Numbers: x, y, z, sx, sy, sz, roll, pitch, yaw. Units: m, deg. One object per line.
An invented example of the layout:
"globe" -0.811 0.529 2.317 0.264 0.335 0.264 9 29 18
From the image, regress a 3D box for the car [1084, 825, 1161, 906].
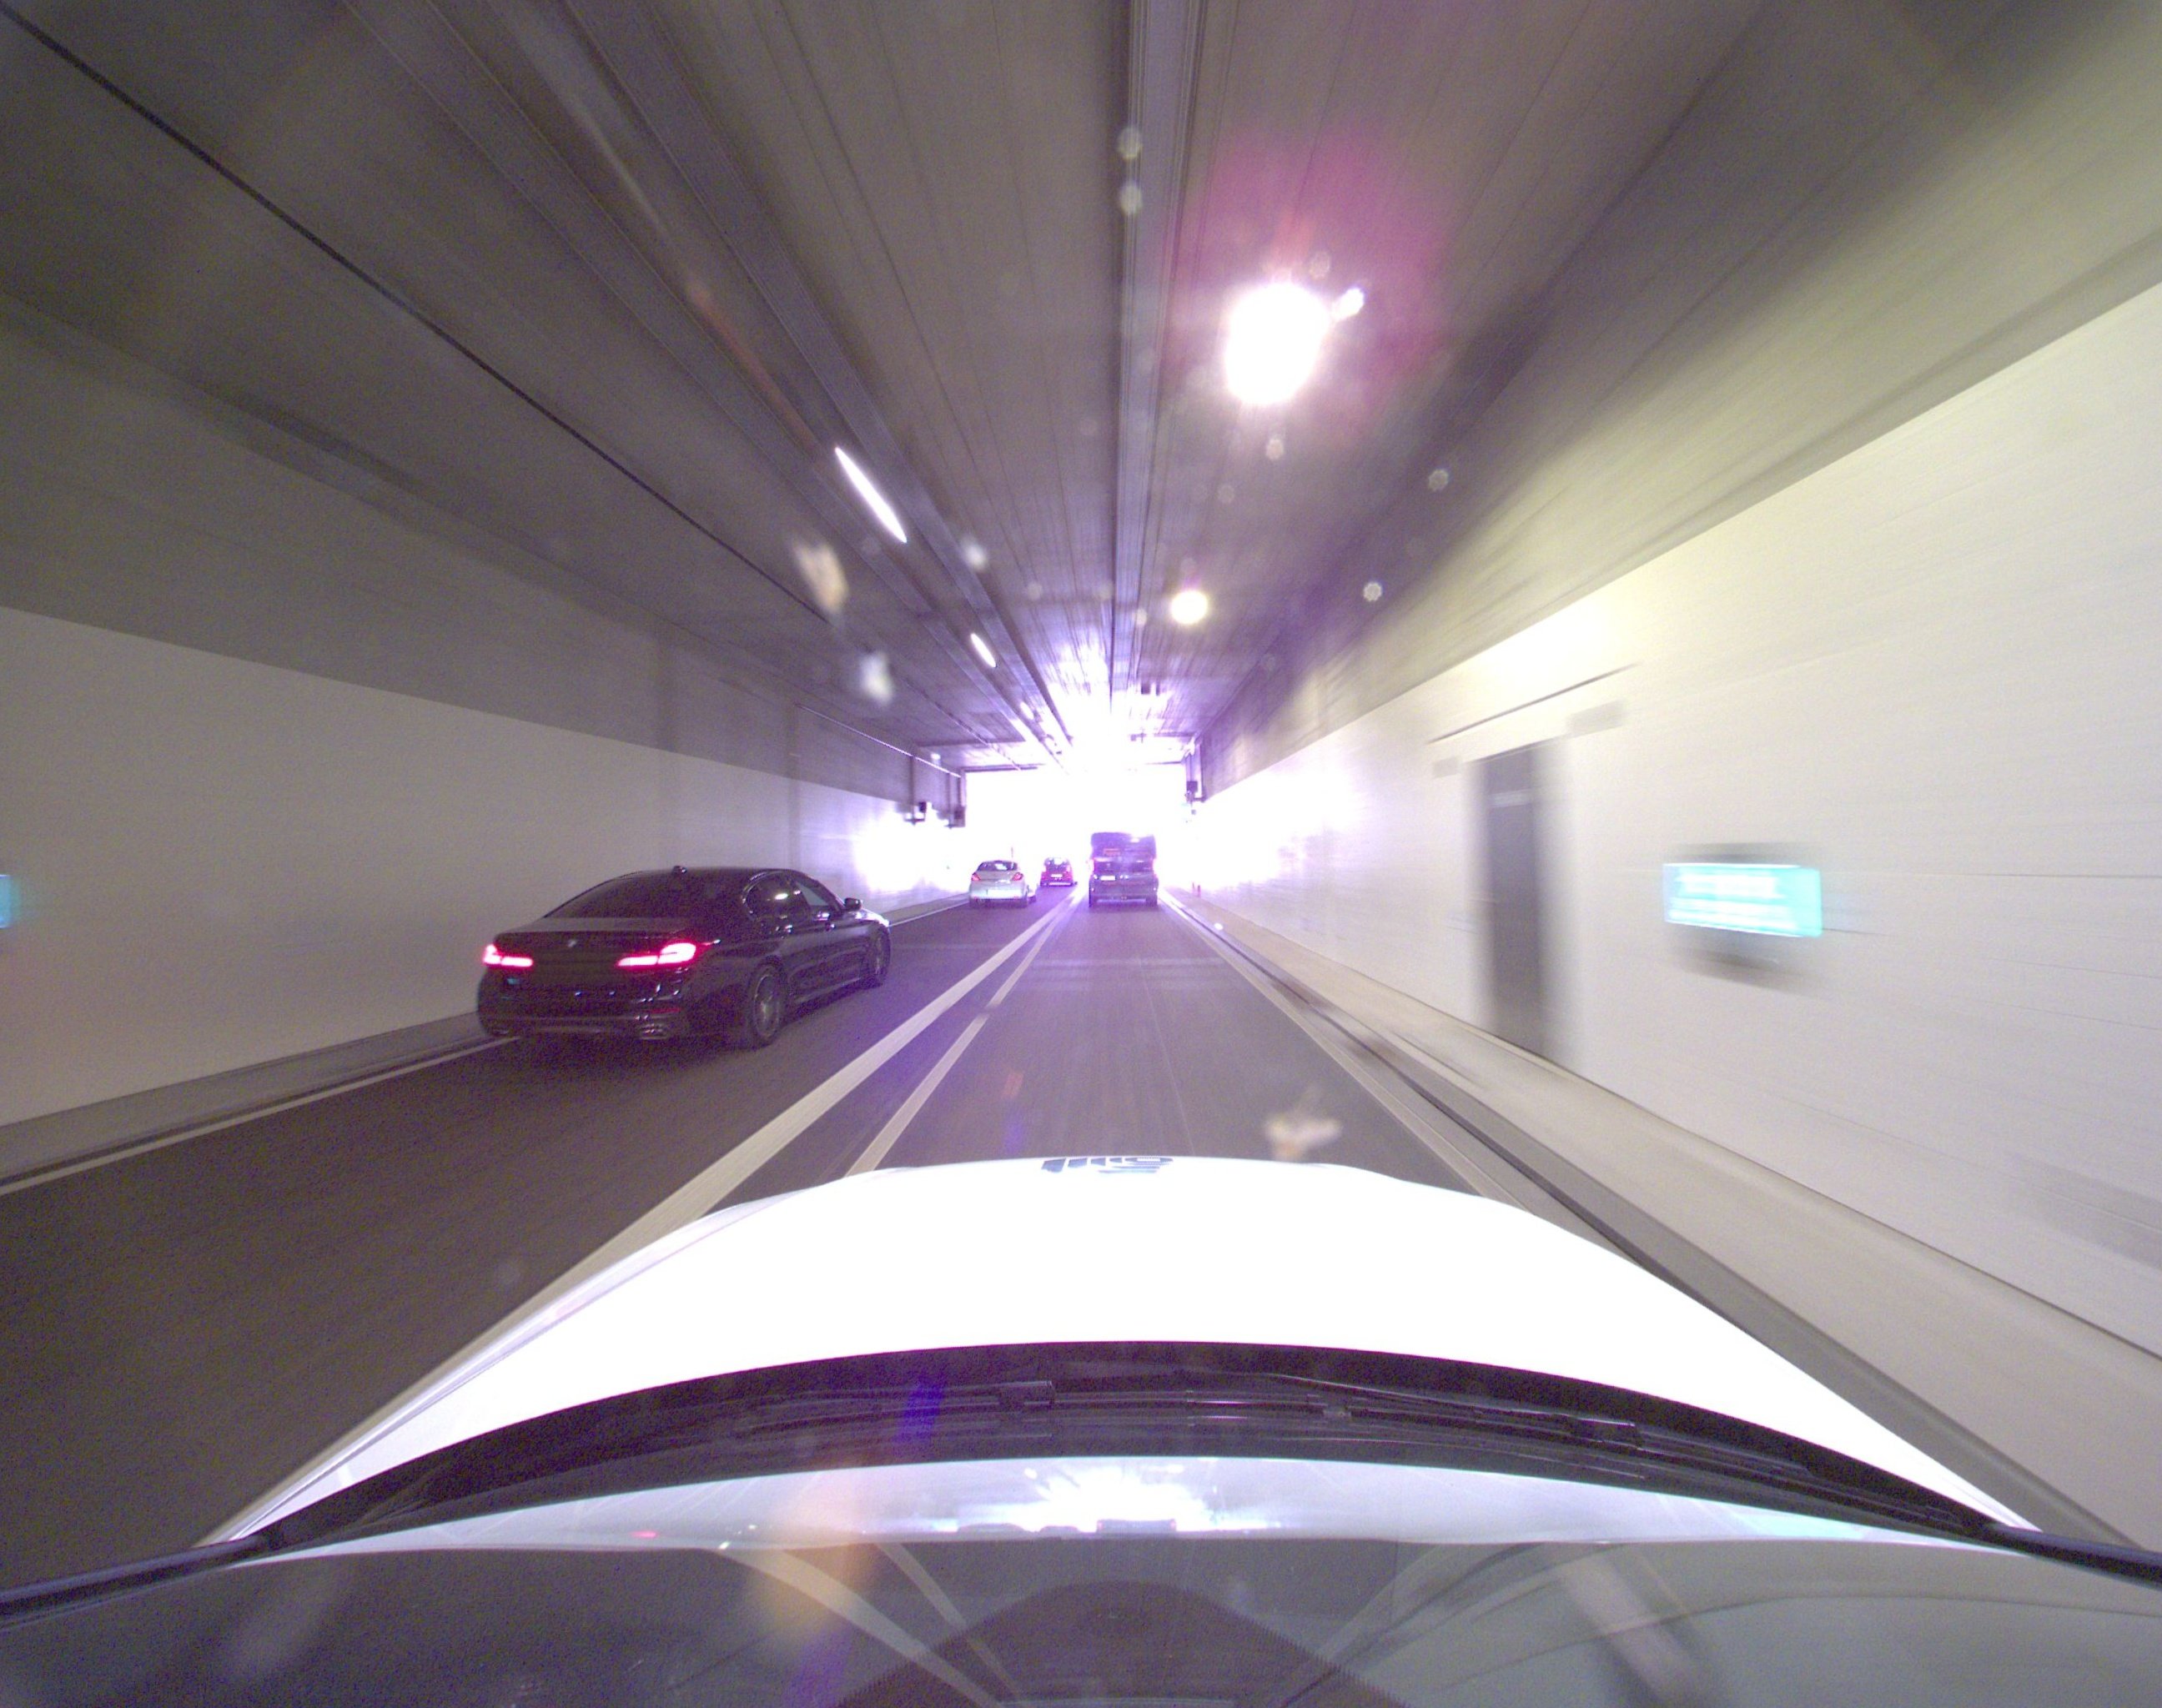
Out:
"car" 1.291 0.297 25.390 2.149 2.265 4.640 -1 1 3

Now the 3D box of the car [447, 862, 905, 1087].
"car" -3.255 0.830 7.893 1.688 1.422 4.857 1 0 4

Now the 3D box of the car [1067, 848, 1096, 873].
"car" 0.082 0.453 55.226 1.870 1.582 4.221 1 -1 1

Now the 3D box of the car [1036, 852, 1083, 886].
"car" -0.997 0.690 39.691 1.806 1.512 4.226 1 0 5

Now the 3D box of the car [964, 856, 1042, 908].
"car" -2.294 0.794 24.855 1.701 1.413 3.978 -1 0 4
